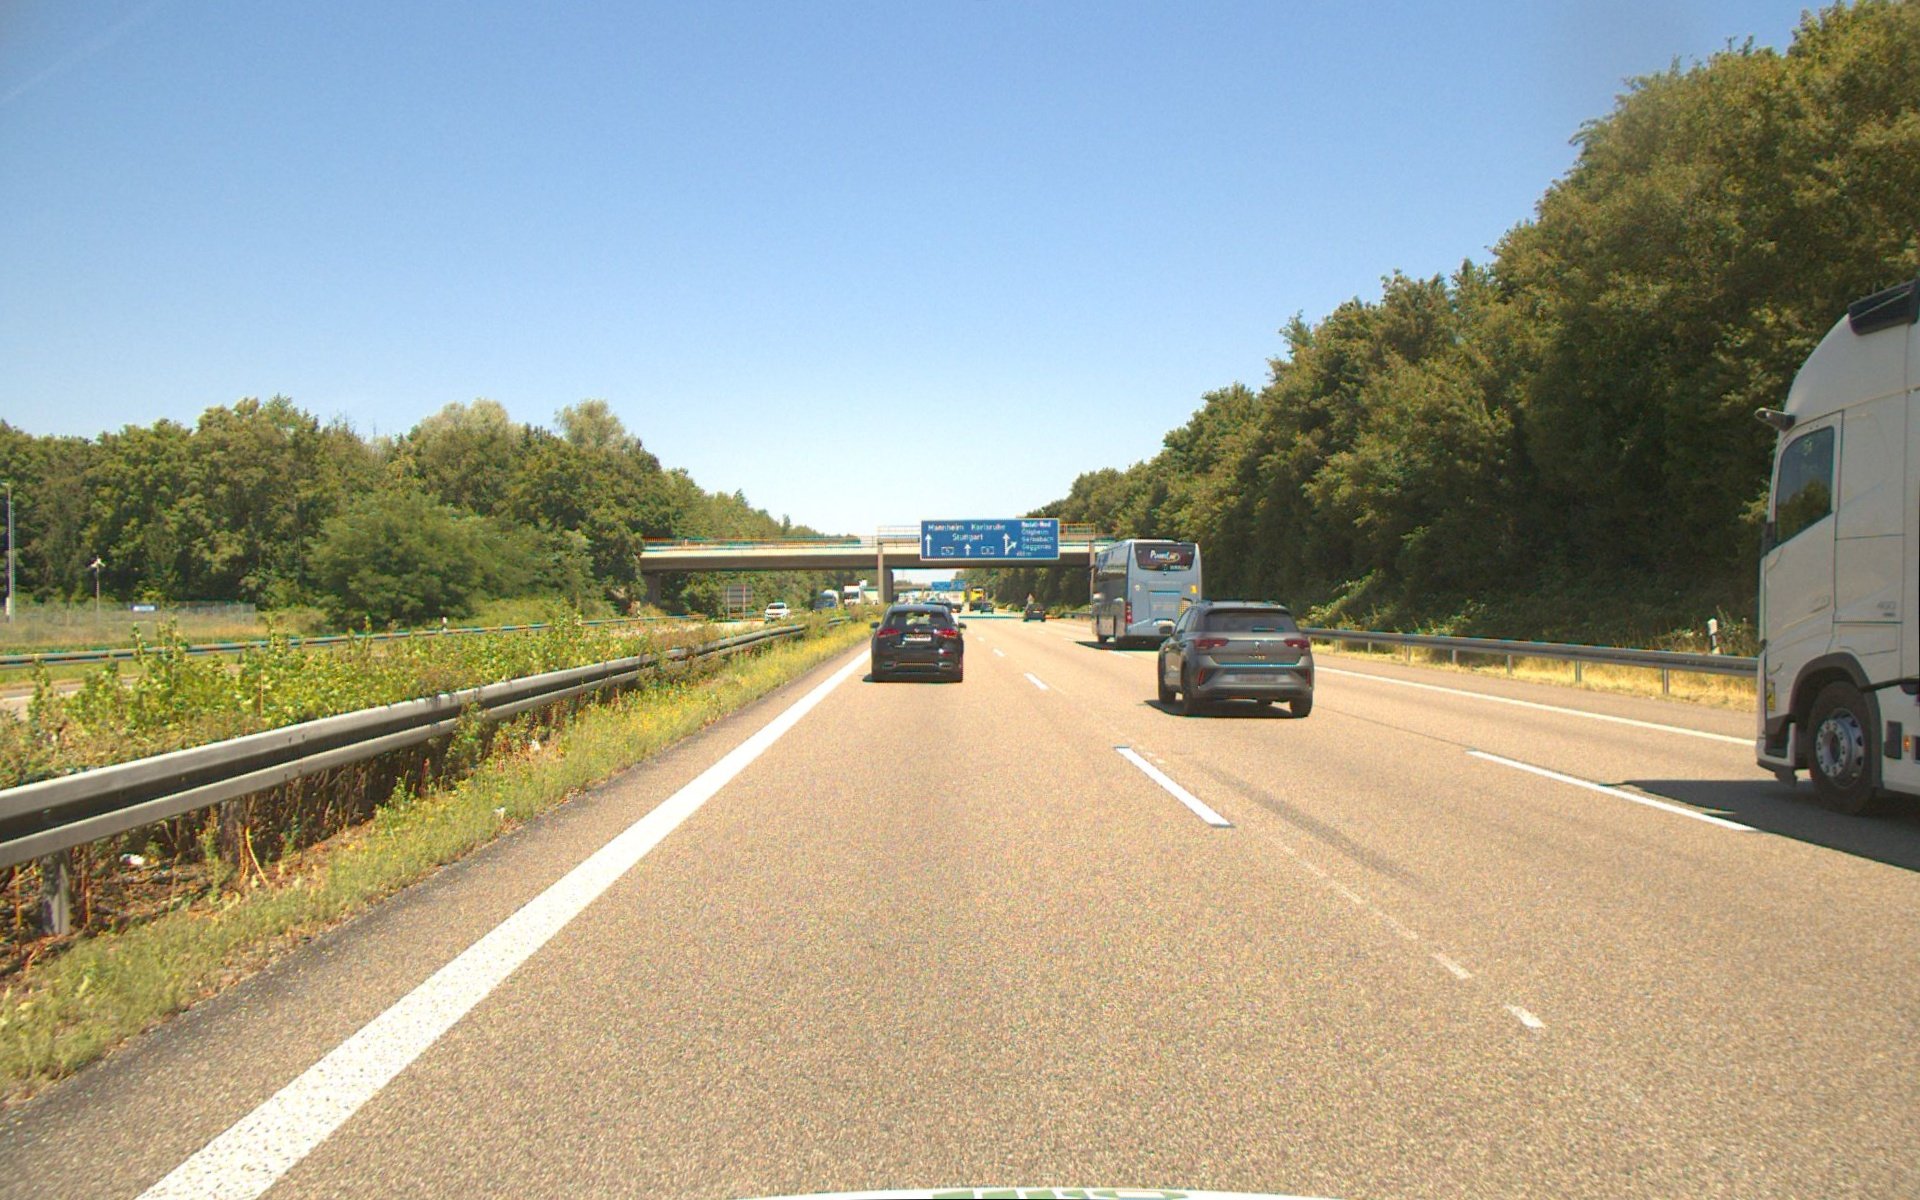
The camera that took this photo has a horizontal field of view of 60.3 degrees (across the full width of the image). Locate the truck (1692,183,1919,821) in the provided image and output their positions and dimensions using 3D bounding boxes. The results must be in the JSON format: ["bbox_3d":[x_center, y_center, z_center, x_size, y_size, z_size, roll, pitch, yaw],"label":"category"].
[{"bbox_3d":[7.931,-0.649,11.343,2.986,4.289,6.046,1,0,-2],"label":"truck"}]

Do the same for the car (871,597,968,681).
[{"bbox_3d":[-0.806,0.711,32.355,1.763,1.528,4.240,0,0,-2],"label":"car"}]

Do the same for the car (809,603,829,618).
[{"bbox_3d":[-15.814,1.145,185.611,1.861,1.559,5.030,-4,0,-2],"label":"car"}]

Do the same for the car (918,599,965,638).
[{"bbox_3d":[-0.782,0.758,69.023,1.861,1.559,4.240,0,0,-2],"label":"car"}]

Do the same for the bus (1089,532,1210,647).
[{"bbox_3d":[6.539,-0.317,59.159,2.745,3.659,12.472,0,0,-1],"label":"bus"}]

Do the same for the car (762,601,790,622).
[{"bbox_3d":[-14.628,0.898,131.446,1.771,1.509,4.416,-3,0,-1],"label":"car"}]

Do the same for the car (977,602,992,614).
[{"bbox_3d":[3.492,1.116,232.961,2.038,1.559,4.241,0,0,0],"label":"car"}]

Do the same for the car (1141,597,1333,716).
[{"bbox_3d":[3.927,0.741,24.258,1.861,1.559,4.758,0,0,-2],"label":"car"}]

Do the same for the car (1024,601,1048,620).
[{"bbox_3d":[6.227,0.838,136.149,1.753,1.487,3.949,0,0,0],"label":"car"}]
